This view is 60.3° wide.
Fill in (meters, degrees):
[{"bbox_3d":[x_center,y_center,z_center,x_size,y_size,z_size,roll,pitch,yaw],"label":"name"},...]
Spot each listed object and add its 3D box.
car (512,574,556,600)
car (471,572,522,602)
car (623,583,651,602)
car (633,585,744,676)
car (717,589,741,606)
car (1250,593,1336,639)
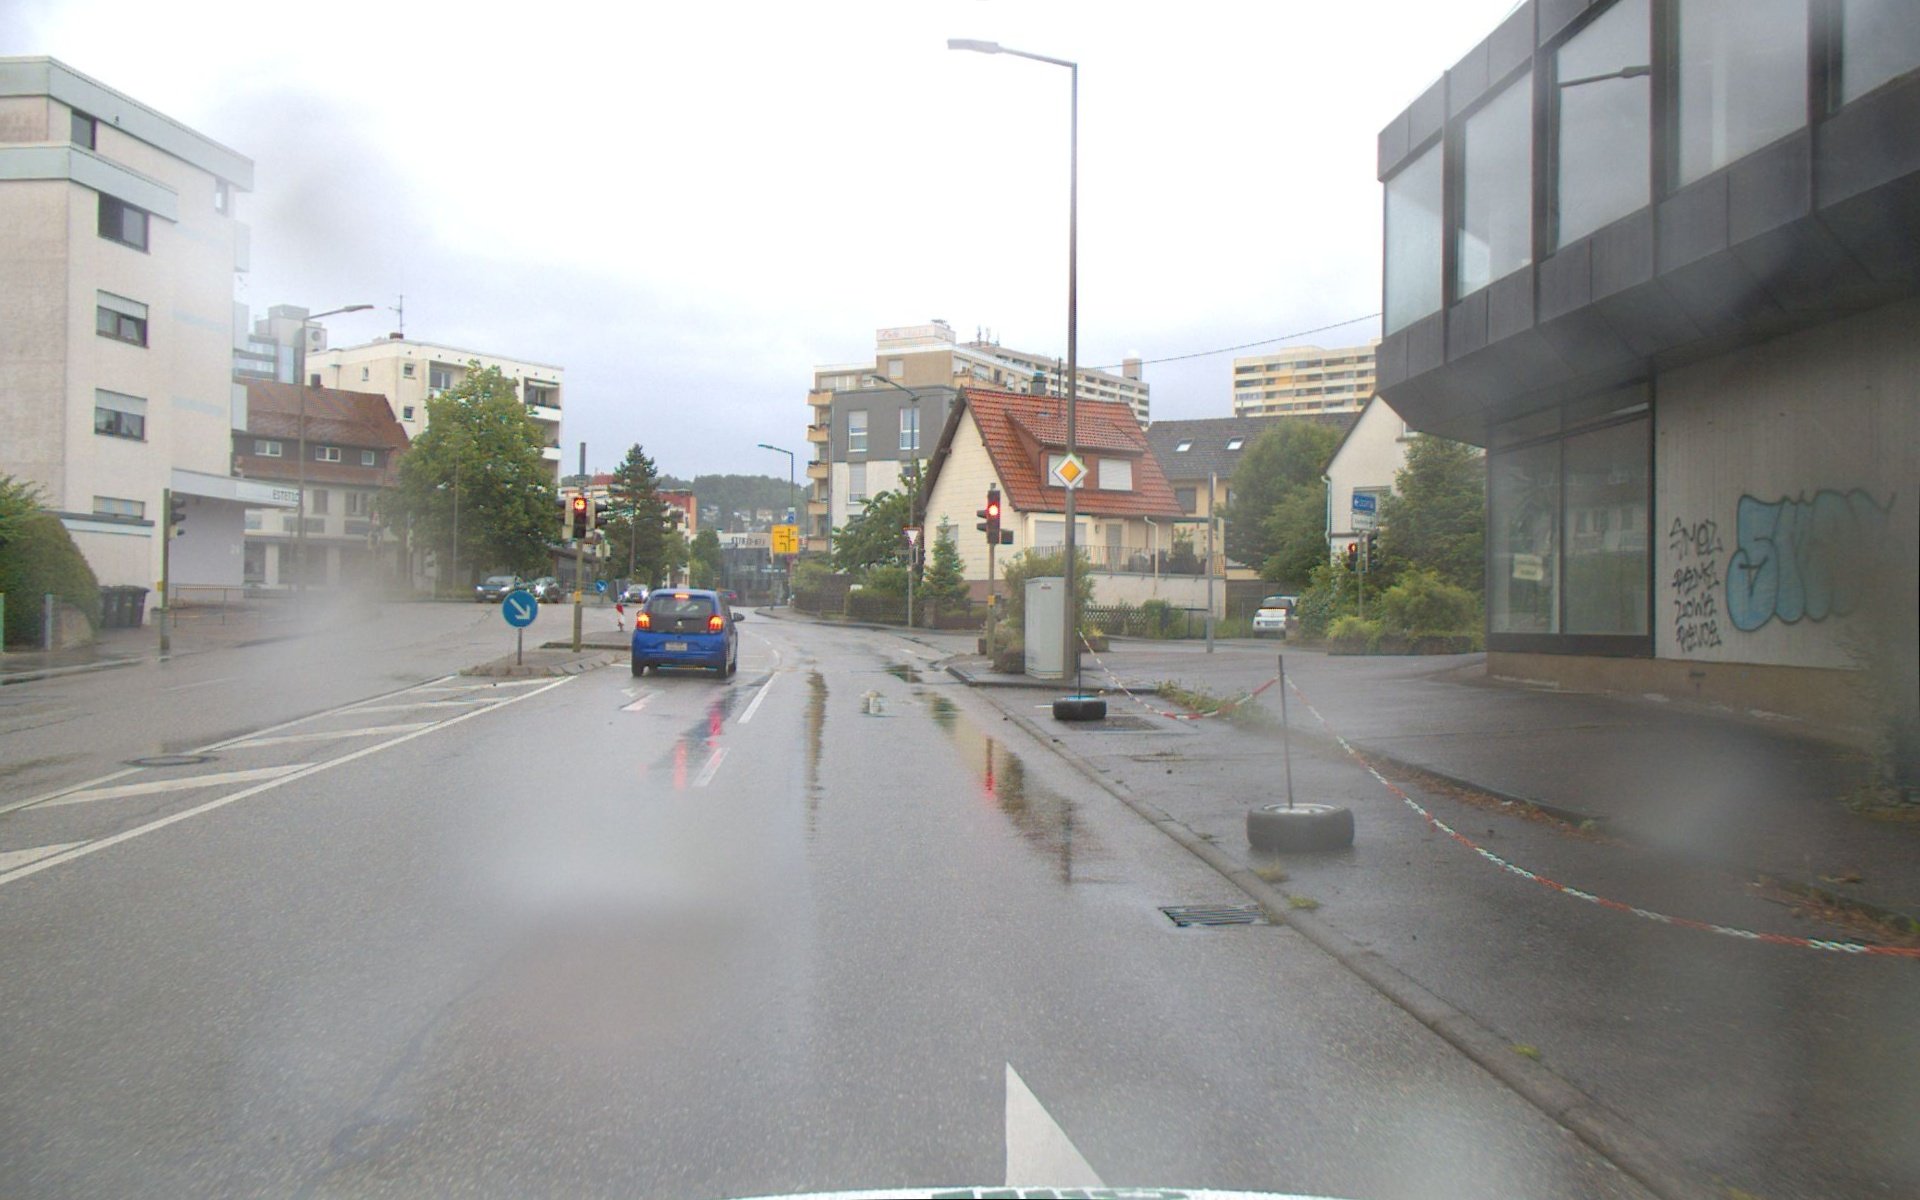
[{"bbox_3d":[-23.695,-0.746,92.144,1.681,1.411,4.017,1,1,-5],"label":"car"},{"bbox_3d":[-23.761,-0.677,84.907,1.744,1.445,3.827,1,1,-5],"label":"car"},{"bbox_3d":[-25.314,-0.610,129.658,1.744,1.445,3.827,1,1,-5],"label":"car"},{"bbox_3d":[-4.616,0.485,28.477,1.548,1.435,3.267,1,0,-4],"label":"car"},{"bbox_3d":[-20.436,-0.226,146.551,1.777,1.512,4.186,0,1,-4],"label":"car"},{"bbox_3d":[11.952,0.561,59.254,1.708,1.541,3.989,1,1,32],"label":"car"}]
